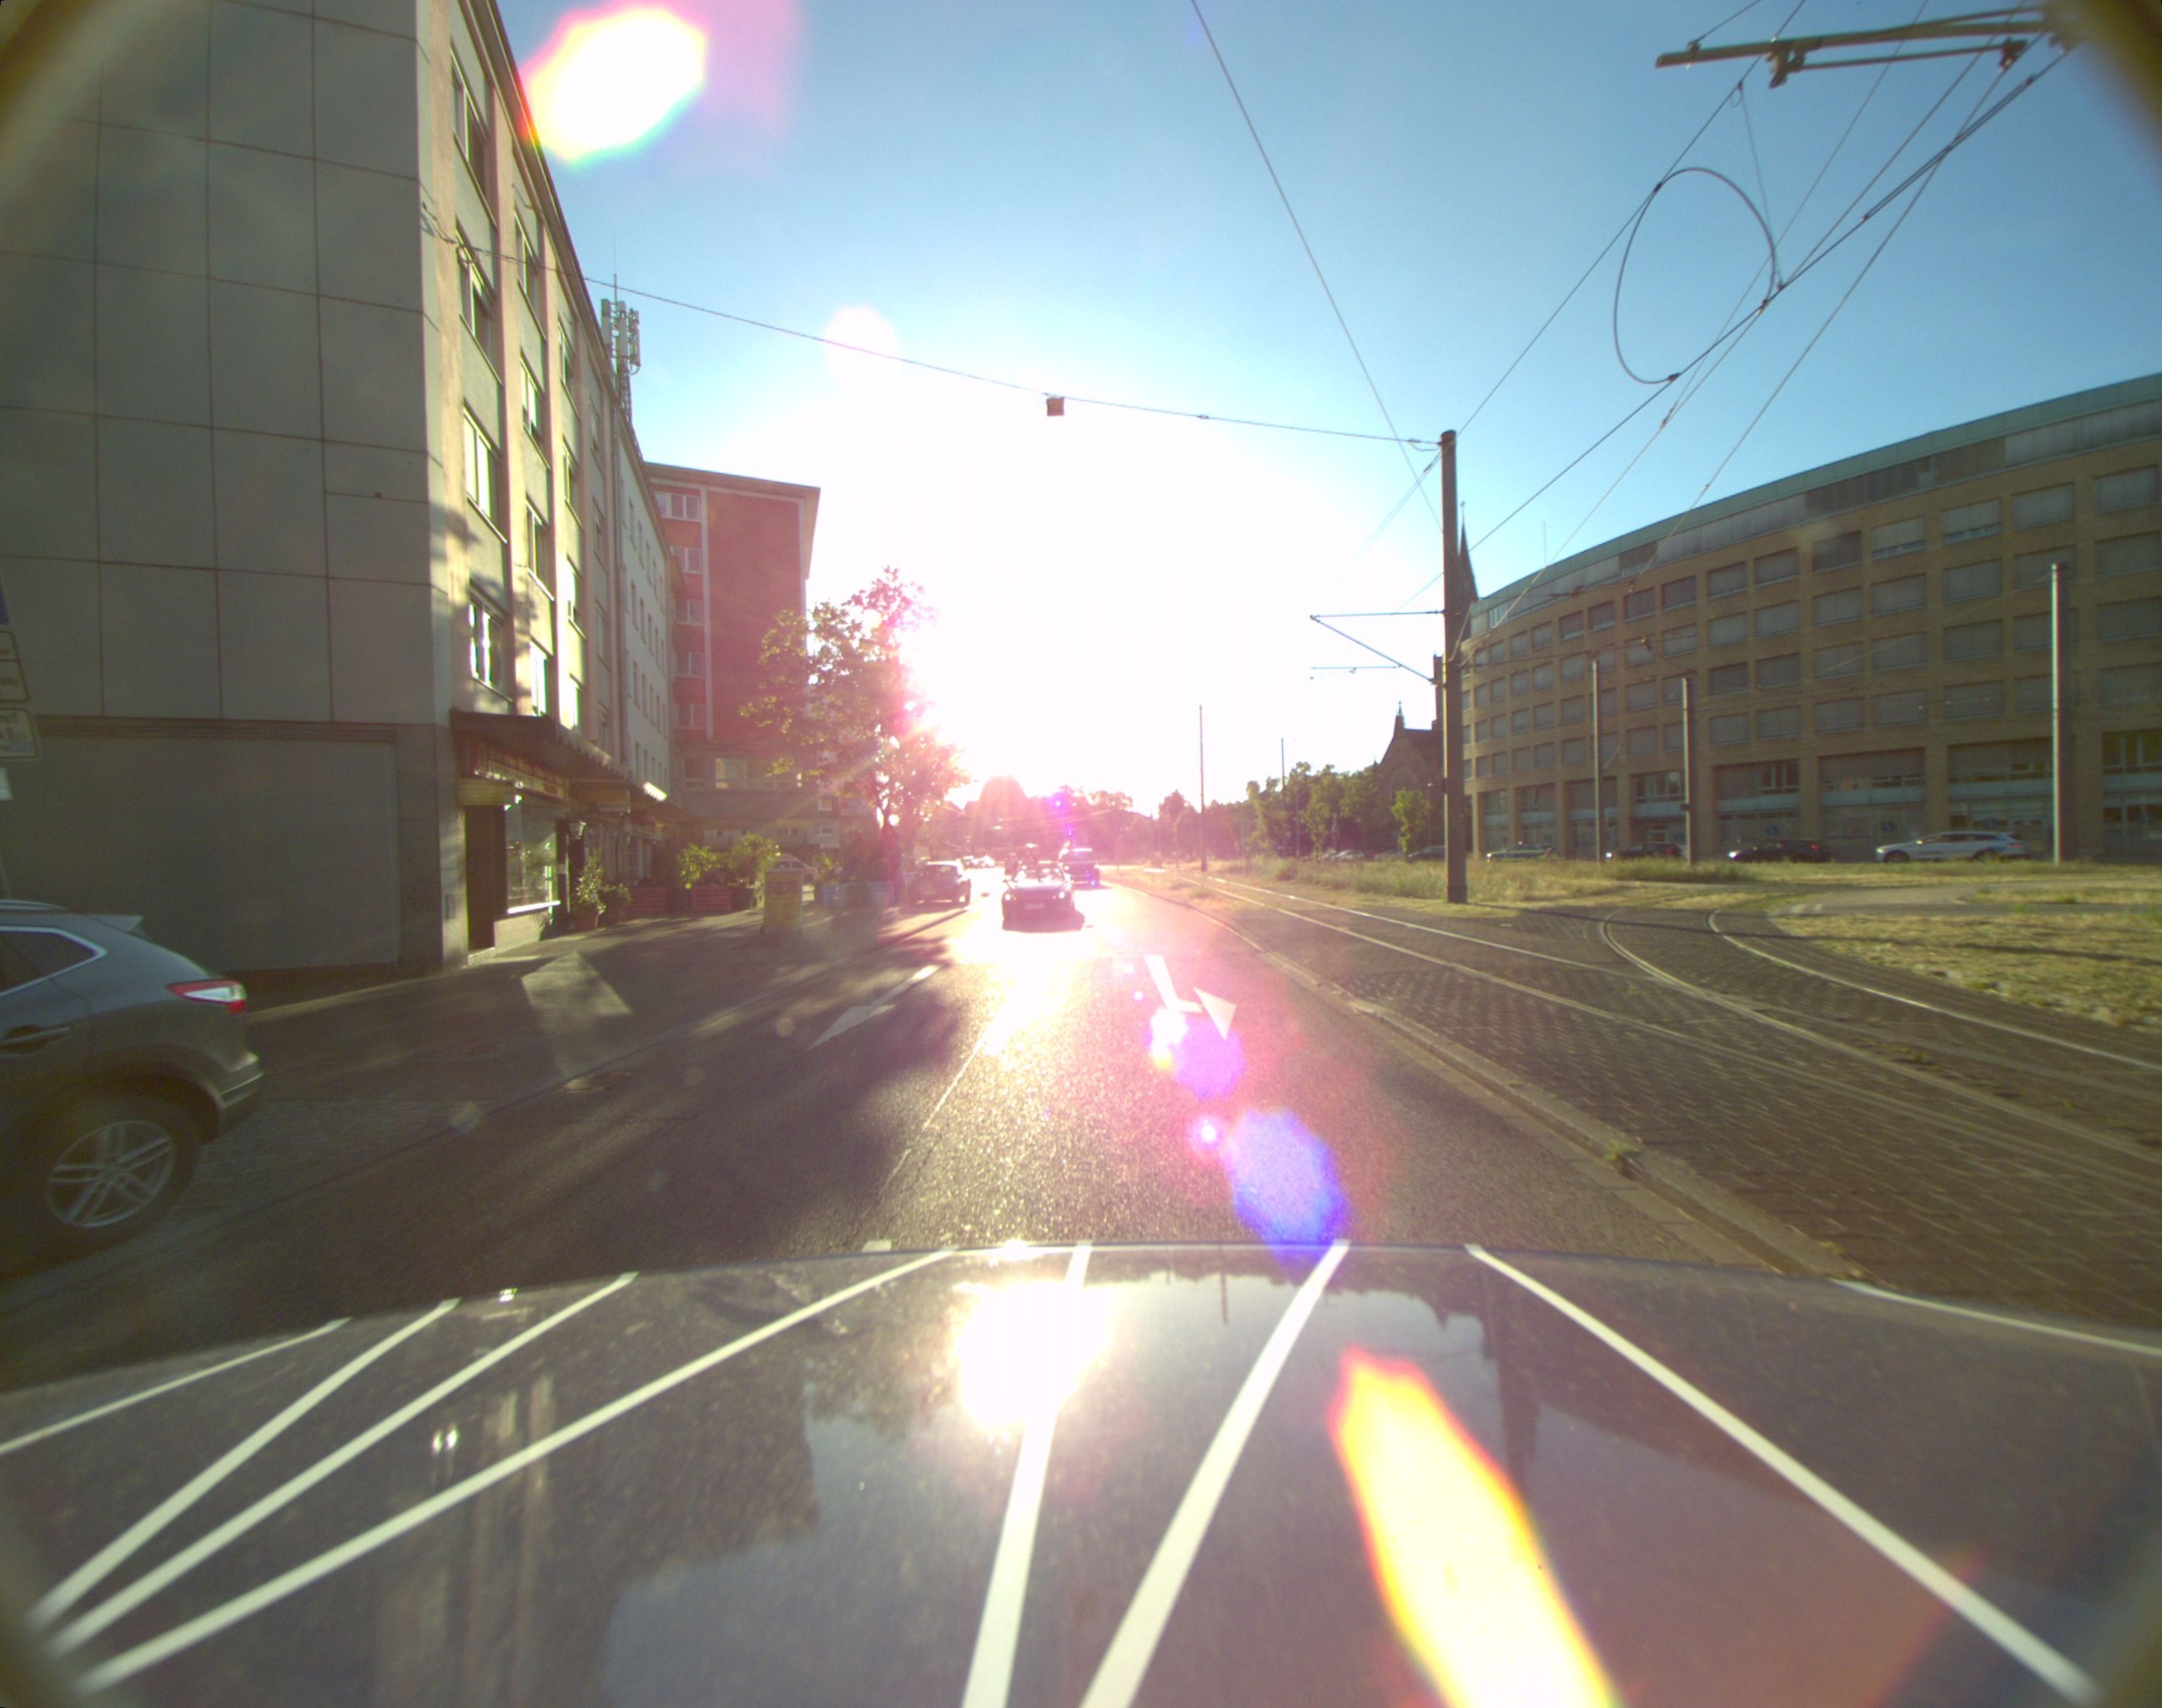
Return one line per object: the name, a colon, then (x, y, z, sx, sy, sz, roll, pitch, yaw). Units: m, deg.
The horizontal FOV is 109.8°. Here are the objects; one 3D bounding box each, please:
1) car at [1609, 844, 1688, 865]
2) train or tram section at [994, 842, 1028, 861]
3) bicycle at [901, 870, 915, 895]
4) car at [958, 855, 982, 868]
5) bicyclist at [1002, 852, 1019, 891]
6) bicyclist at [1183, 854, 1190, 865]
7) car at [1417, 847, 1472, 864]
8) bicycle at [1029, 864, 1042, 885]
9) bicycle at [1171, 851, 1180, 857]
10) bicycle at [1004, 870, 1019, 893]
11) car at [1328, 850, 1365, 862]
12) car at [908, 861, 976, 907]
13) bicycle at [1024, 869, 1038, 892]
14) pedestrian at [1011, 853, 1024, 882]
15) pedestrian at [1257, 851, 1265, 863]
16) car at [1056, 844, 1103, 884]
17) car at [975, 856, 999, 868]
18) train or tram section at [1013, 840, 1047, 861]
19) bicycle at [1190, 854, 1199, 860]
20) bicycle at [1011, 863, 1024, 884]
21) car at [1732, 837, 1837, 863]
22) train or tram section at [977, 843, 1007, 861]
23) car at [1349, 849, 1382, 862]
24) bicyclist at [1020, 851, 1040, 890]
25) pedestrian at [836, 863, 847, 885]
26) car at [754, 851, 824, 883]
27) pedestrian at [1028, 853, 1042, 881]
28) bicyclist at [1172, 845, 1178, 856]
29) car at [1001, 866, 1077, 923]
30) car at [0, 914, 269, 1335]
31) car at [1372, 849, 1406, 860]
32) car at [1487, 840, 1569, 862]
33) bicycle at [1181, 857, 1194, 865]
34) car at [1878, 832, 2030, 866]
car: (34.631, 0.051, 46.466, 1.527, 1.147, 3.592, -2, 0, -24)
train or tram section: (-13.932, -0.475, 149.099, 2.785, 3.515, 13.227, -2, 0, -23)
bicycle: (-8.177, 1.340, 35.899, 0.422, 1.151, 1.753, -2, -1, -20)
car: (-15.931, 1.056, 109.040, 1.959, 1.702, 4.841, -4, 1, -25)
bicyclist: (-3.290, 0.804, 35.477, 0.676, 1.797, 0.993, -2, 1, -7)
bicyclist: (15.330, 0.756, 110.014, 0.522, 1.574, 0.819, -3, 1, -40)
car: (28.963, 0.111, 60.675, 1.732, 1.275, 3.782, -2, 0, -22)
bicycle: (-2.736, 1.197, 45.688, 0.530, 1.152, 1.847, -3, 1, -10)
bicycle: (15.967, -0.017, 128.232, 0.526, 1.020, 1.927, -5, 1, -22)
bicycle: (-3.262, 1.268, 35.493, 0.577, 1.022, 1.855, -2, 0, -7)
car: (32.973, 0.260, 94.540, 4.003, 1.412, 1.899, -1, 0, -19)
car: (-4.925, 1.010, 27.352, 1.732, 1.463, 3.898, 1, 0, 0)
bicycle: (-2.365, 1.225, 35.705, 0.480, 1.022, 1.980, -2, 0, -7)
pedestrian: (-3.671, 0.774, 43.831, 0.640, 1.639, 0.842, -3, 1, -10)
pedestrian: (24.035, 0.400, 101.401, 0.739, 1.663, 0.716, -2, 0, -19)
car: (-0.144, 0.502, 41.180, 1.921, 1.978, 4.944, -2, 0, -7)
car: (-12.633, 1.110, 102.037, 1.845, 1.393, 4.575, -4, 1, -25)
train or tram section: (-9.382, -0.534, 138.123, 2.785, 3.515, 10.551, -2, 0, -23)
bicycle: (17.854, 0.475, 119.151, 0.460, 1.020, 1.927, -3, 0, -22)
bicycle: (-3.673, 1.116, 43.879, 0.530, 1.152, 1.847, -3, 1, -10)
car: (37.380, -0.167, 40.471, 1.653, 1.274, 3.732, -2, 0, -25)
train or tram section: (-18.993, -0.331, 161.302, 2.785, 3.515, 13.227, -2, 0, -23)
car: (38.506, 0.236, 102.996, 4.004, 1.575, 1.822, -1, 0, -22)
bicyclist: (-2.414, 0.761, 35.646, 0.829, 1.797, 1.057, -2, 0, -7)
pedestrian: (-18.615, 1.564, 58.984, 0.730, 1.652, 0.904, -2, 0, -21)
car: (-24.424, 1.071, 63.636, 5.272, 2.468, 1.922, -2, 0, -22)
pedestrian: (-2.749, 0.767, 45.658, 0.679, 1.639, 0.901, -3, 1, -10)
bicyclist: (15.937, -0.538, 128.247, 0.575, 1.816, 0.893, -3, 1, -23)
car: (-1.062, 1.035, 20.936, 1.776, 1.300, 4.240, -2, 0, 0)
car: (-5.148, 1.093, 1.817, 1.786, 1.547, 4.235, 1, 0, 2)
car: (40.692, 0.078, 100.361, 4.004, 1.412, 1.899, -1, 0, -22)
car: (31.609, -0.183, 53.909, 1.897, 1.471, 4.772, -2, 0, -24)
bicycle: (15.384, 1.057, 109.975, 0.460, 1.139, 1.914, -3, 1, -41)
car: (40.024, -0.197, 34.977, 1.779, 1.473, 4.300, -2, 0, -29)
